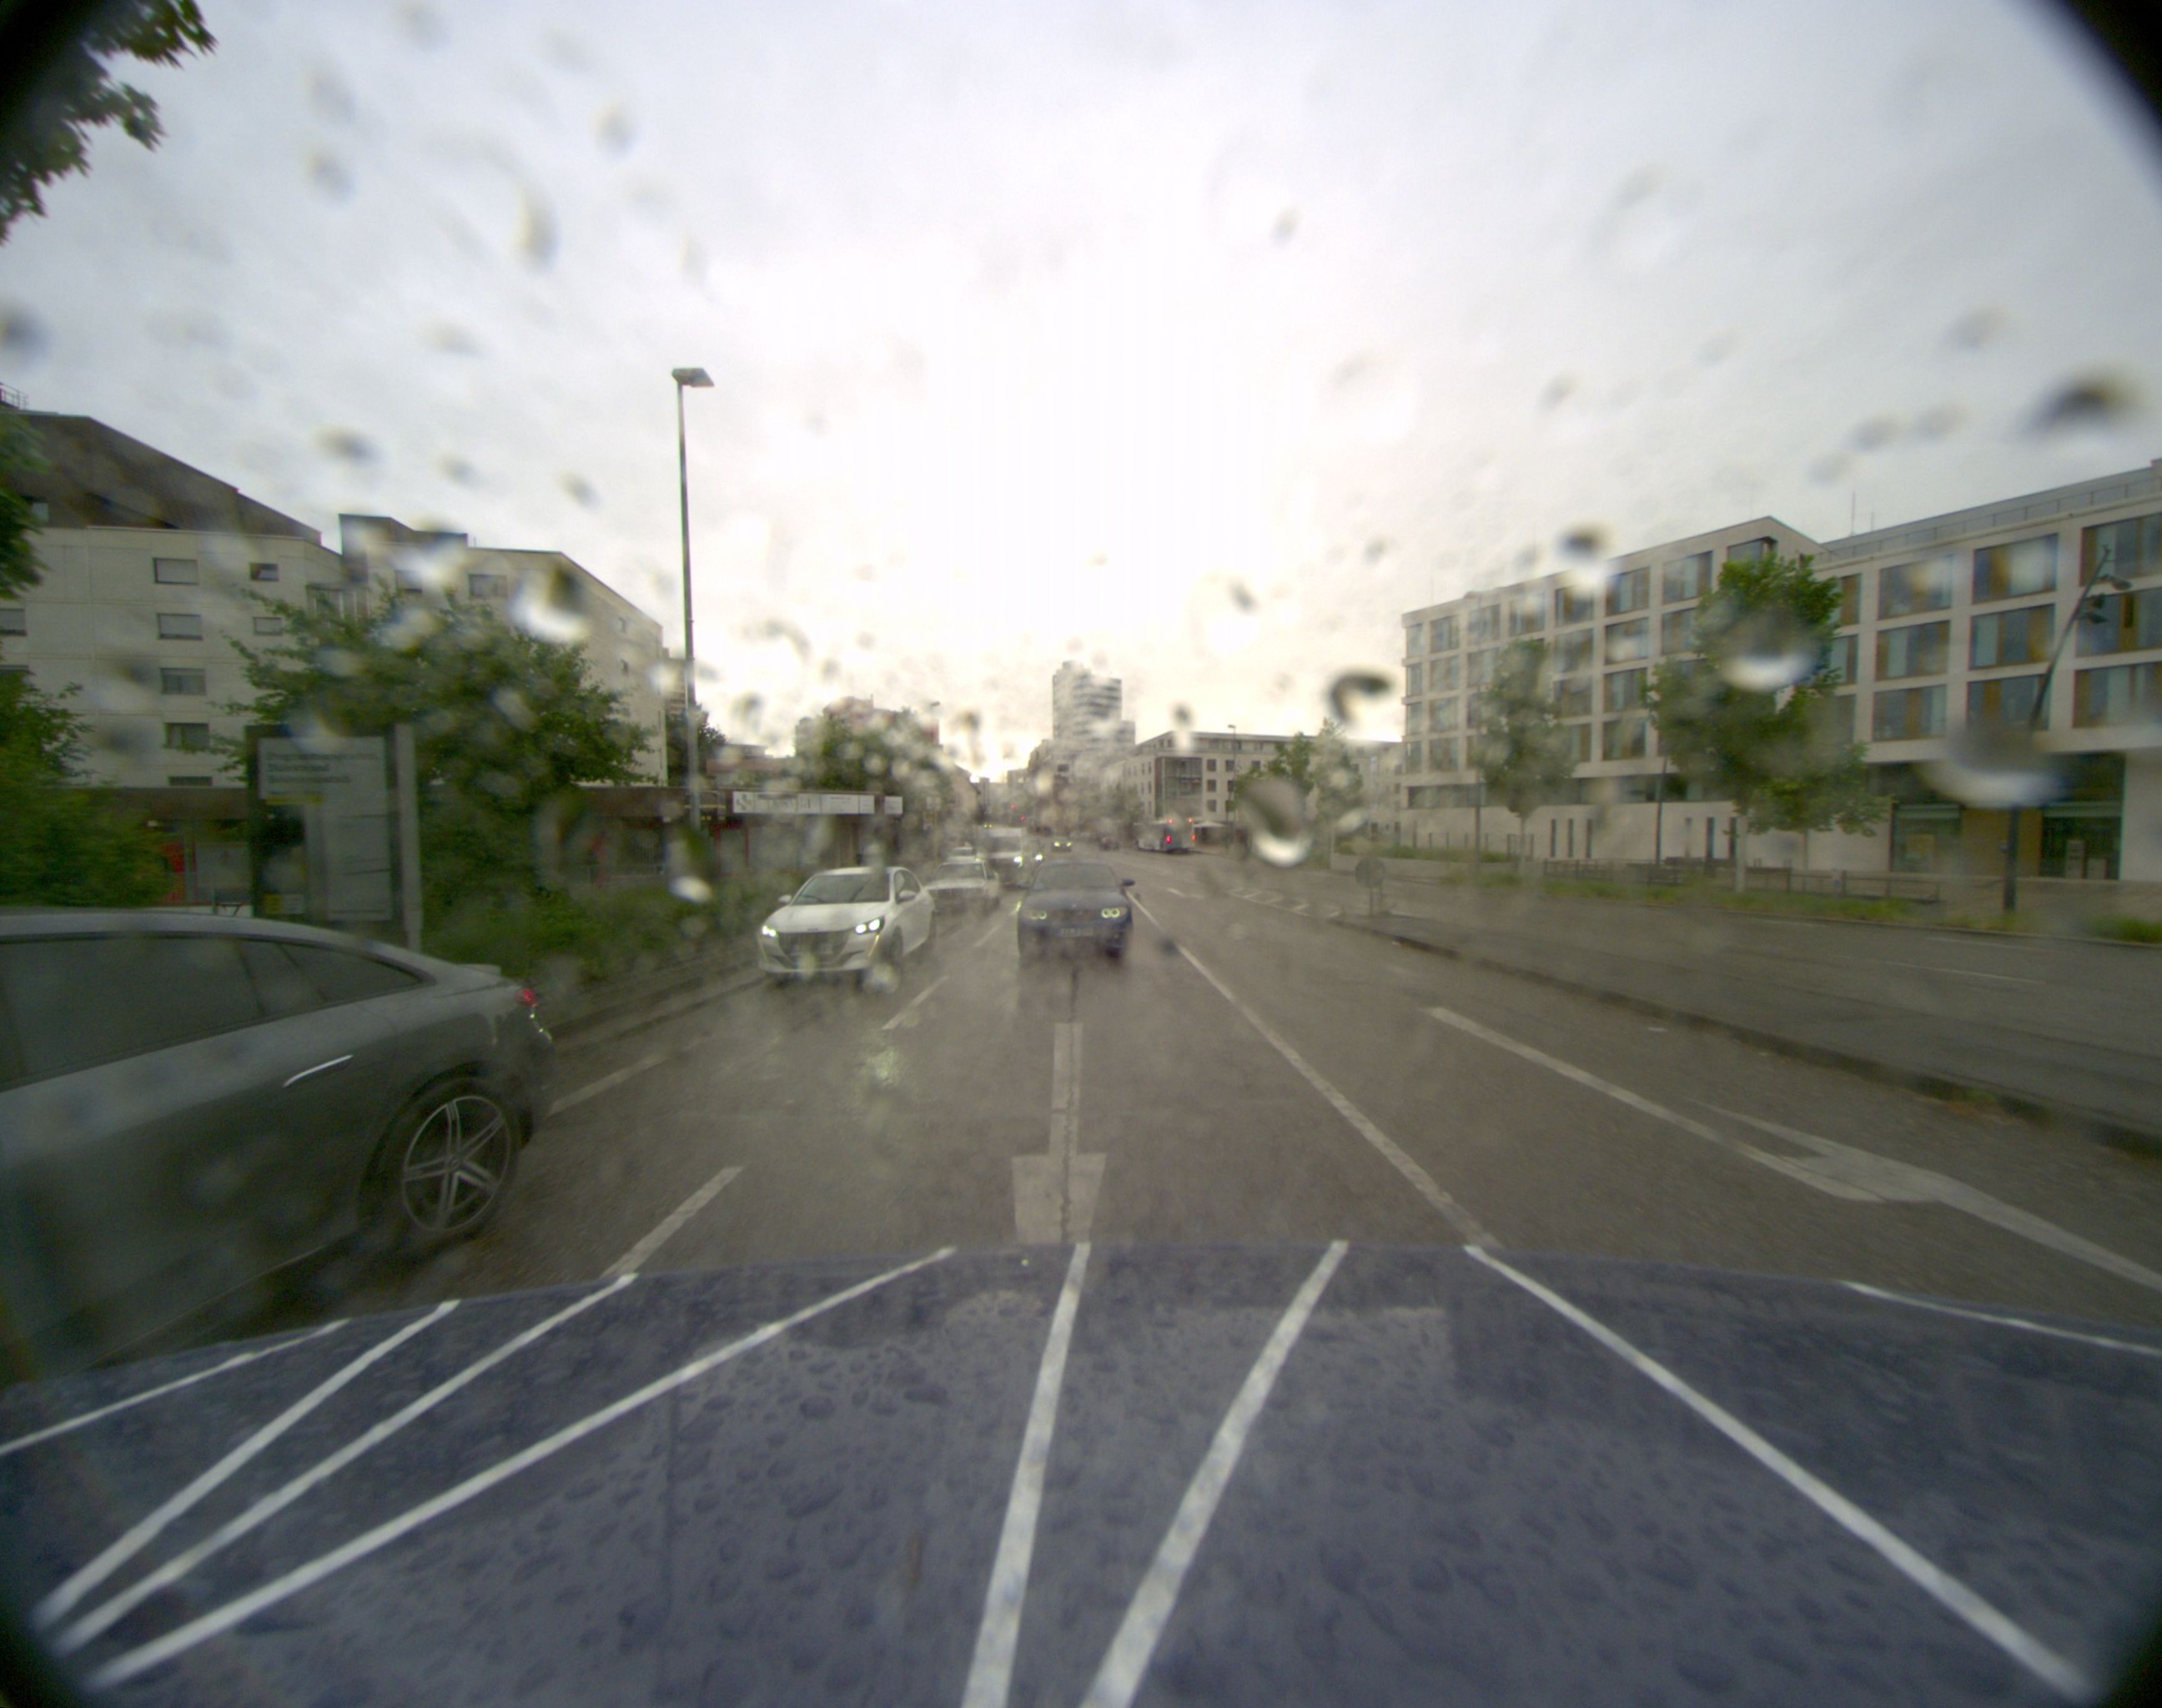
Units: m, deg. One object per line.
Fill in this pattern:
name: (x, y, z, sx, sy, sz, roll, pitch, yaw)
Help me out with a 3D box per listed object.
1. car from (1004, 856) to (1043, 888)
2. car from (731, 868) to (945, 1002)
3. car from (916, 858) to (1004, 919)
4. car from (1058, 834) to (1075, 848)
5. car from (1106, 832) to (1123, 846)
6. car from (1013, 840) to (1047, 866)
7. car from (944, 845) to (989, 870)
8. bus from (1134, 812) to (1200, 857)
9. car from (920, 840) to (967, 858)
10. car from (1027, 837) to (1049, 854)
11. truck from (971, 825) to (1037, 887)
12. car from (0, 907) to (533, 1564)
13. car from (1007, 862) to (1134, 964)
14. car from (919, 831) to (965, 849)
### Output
car: (-3.082, 0.938, 41.377, 1.643, 1.477, 3.676, -6, 1, 1)
car: (-3.261, 1.009, 11.101, 1.718, 1.389, 4.035, -3, 1, 1)
car: (-3.199, 0.882, 20.844, 1.718, 1.369, 3.734, -3, 1, 1)
car: (-1.617, -1.417, 81.408, 1.718, 1.369, 3.733, -3, 1, -2)
car: (3.681, -1.703, 83.871, 1.818, 1.420, 3.941, -2, 2, 2)
car: (-3.223, -0.043, 48.627, 1.999, 1.543, 3.999, -2, 0, -2)
car: (-6.713, 0.190, 44.916, 1.998, 1.343, 3.803, 1, 1, 1)
bus: (8.311, -1.911, 76.903, 2.952, 3.972, 18.216, 0, 1, -5)
car: (-12.063, -0.429, 66.805, 4.000, 1.412, 1.998, -2, 1, -9)
car: (-4.206, -0.811, 74.590, 1.999, 1.543, 3.999, -2, 0, -2)
truck: (-3.259, 0.023, 33.552, 2.169, 2.425, 6.199, -1, 1, 1)
car: (-3.550, 1.035, 1.287, 1.836, 1.436, 4.550, -3, 1, 1)
car: (-0.128, 0.866, 12.742, 1.787, 1.335, 3.704, -2, 1, 1)
car: (-12.616, -1.261, 69.253, 4.000, 1.412, 1.701, -2, 1, -9)
